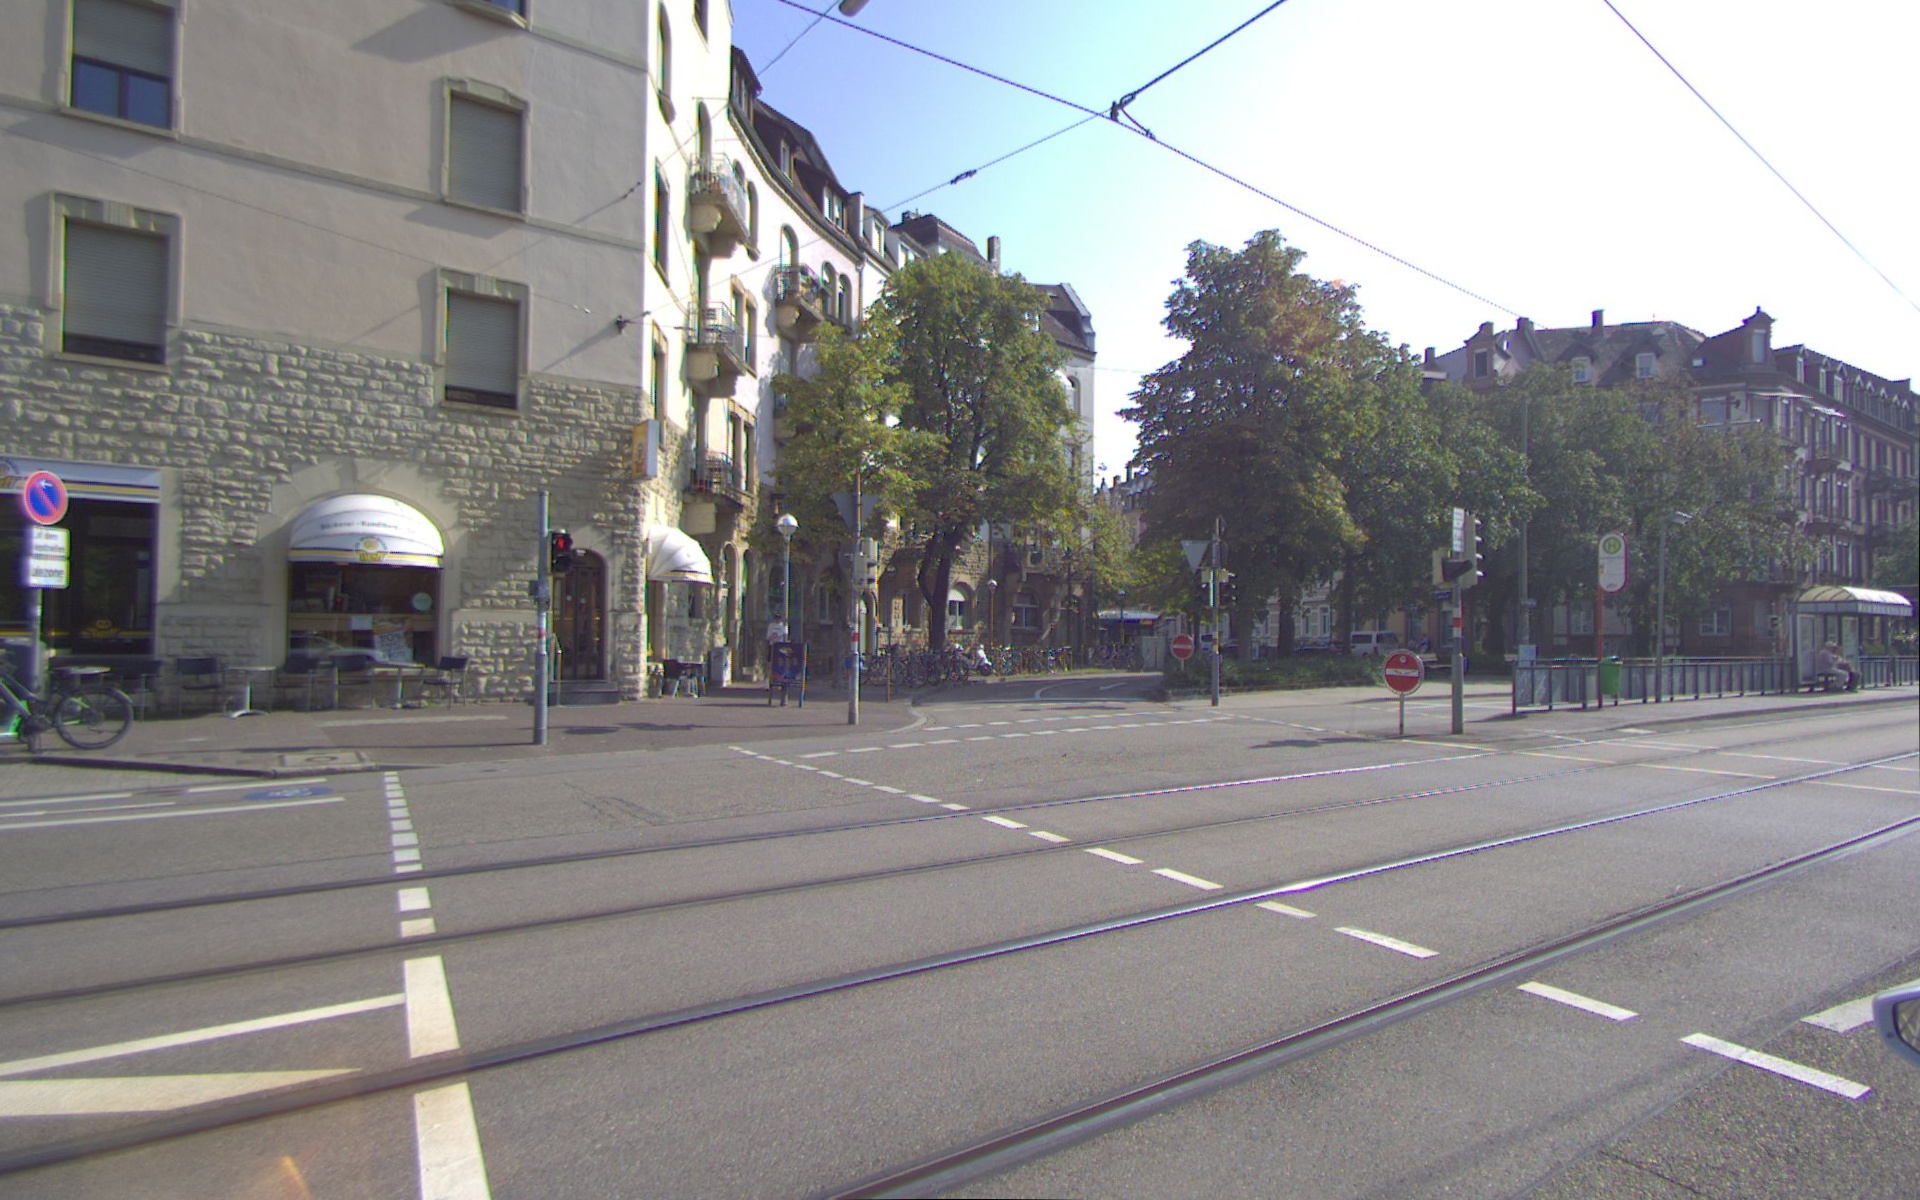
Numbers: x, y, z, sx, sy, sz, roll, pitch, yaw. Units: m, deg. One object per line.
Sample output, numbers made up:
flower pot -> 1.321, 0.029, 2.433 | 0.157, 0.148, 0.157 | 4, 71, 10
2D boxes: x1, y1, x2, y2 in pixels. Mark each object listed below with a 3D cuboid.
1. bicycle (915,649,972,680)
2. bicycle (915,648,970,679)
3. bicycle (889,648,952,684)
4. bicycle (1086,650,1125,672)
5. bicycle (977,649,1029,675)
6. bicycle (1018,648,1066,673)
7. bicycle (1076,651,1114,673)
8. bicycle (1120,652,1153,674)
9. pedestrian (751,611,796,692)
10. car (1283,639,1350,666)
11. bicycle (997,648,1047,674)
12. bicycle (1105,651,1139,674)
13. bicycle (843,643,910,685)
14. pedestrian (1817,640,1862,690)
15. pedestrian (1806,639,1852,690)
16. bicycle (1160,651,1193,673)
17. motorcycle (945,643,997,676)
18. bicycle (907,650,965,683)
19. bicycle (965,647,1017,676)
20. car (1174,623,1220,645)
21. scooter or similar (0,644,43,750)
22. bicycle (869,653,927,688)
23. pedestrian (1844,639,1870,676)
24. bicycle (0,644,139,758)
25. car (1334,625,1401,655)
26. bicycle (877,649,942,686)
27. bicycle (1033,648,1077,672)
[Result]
bicycle -> -0.559, 2.140, 33.518 | 1.768, 0.996, 0.661 | 1, -2, 15
bicycle -> -0.610, 2.179, 34.531 | 1.768, 0.989, 0.661 | 1, -2, 15
bicycle -> -1.215, 2.016, 30.953 | 1.841, 1.047, 0.570 | 1, -2, 17
bicycle -> 6.851, 2.886, 47.405 | 1.740, 0.990, 0.604 | -1, -2, 33
bicycle -> 1.674, 2.416, 39.113 | 1.875, 0.947, 0.738 | 0, -2, 22
bicycle -> 3.395, 2.490, 41.484 | 1.864, 0.993, 0.686 | 0, -2, 22
bicycle -> 6.293, 2.867, 46.855 | 1.741, 0.990, 0.518 | -1, -2, 35
bicycle -> 8.151, 2.893, 46.362 | 1.752, 0.990, 0.422 | 2, -2, -35
pedestrian -> -4.520, 1.239, 24.294 | 0.768, 1.918, 0.886 | 2, -2, -34
car -> 22.040, 3.254, 62.273 | 1.965, 1.589, 4.328 | 1, -2, -12
bicycle -> 2.481, 2.447, 40.419 | 1.864, 0.993, 0.686 | 0, -2, 22
bicycle -> 7.473, 2.878, 46.338 | 1.752, 0.990, 0.422 | 2, -2, -35
bicycle -> -2.384, 1.822, 28.641 | 1.846, 1.127, 0.568 | 2, -2, -14
pedestrian -> 24.813, 1.809, 28.346 | 0.769, 1.376, 0.821 | 2, -2, -38
pedestrian -> 24.032, 1.779, 27.776 | 0.769, 1.376, 0.821 | 2, -2, -38
bicycle -> 10.490, 2.993, 48.782 | 0.597, 0.990, 1.759 | 1, -2, -26
motorcycle -> 0.407, 2.183, 37.124 | 1.838, 1.169, 0.607 | 0, -2, 22
bicycle -> -0.770, 2.120, 32.322 | 1.768, 0.997, 0.570 | 1, -2, 15
bicycle -> 1.158, 2.319, 37.949 | 1.842, 1.041, 0.664 | 0, -2, 22
car -> 20.210, 2.895, 85.934 | 1.970, 1.852, 3.981 | 1, -2, -21
scooter or similar -> -11.257, 1.117, 11.537 | 0.359, 1.213, 1.035 | 0, -2, 10
bicycle -> -1.722, 1.956, 28.019 | 1.578, 0.932, 0.479 | 1, -2, -4
pedestrian -> 42.894, 2.738, 48.036 | 0.763, 1.753, 0.746 | 2, -2, -32
bicycle -> -10.507, 1.123, 11.362 | 1.845, 1.242, 0.448 | 2, -3, -44
car -> 25.327, 2.481, 62.618 | 1.965, 1.852, 3.991 | 1, -2, -12
bicycle -> -1.467, 1.968, 29.478 | 1.841, 1.017, 0.570 | 1, -2, 2
bicycle -> 4.055, 2.561, 42.902 | 1.849, 0.947, 0.636 | 0, -2, 39
